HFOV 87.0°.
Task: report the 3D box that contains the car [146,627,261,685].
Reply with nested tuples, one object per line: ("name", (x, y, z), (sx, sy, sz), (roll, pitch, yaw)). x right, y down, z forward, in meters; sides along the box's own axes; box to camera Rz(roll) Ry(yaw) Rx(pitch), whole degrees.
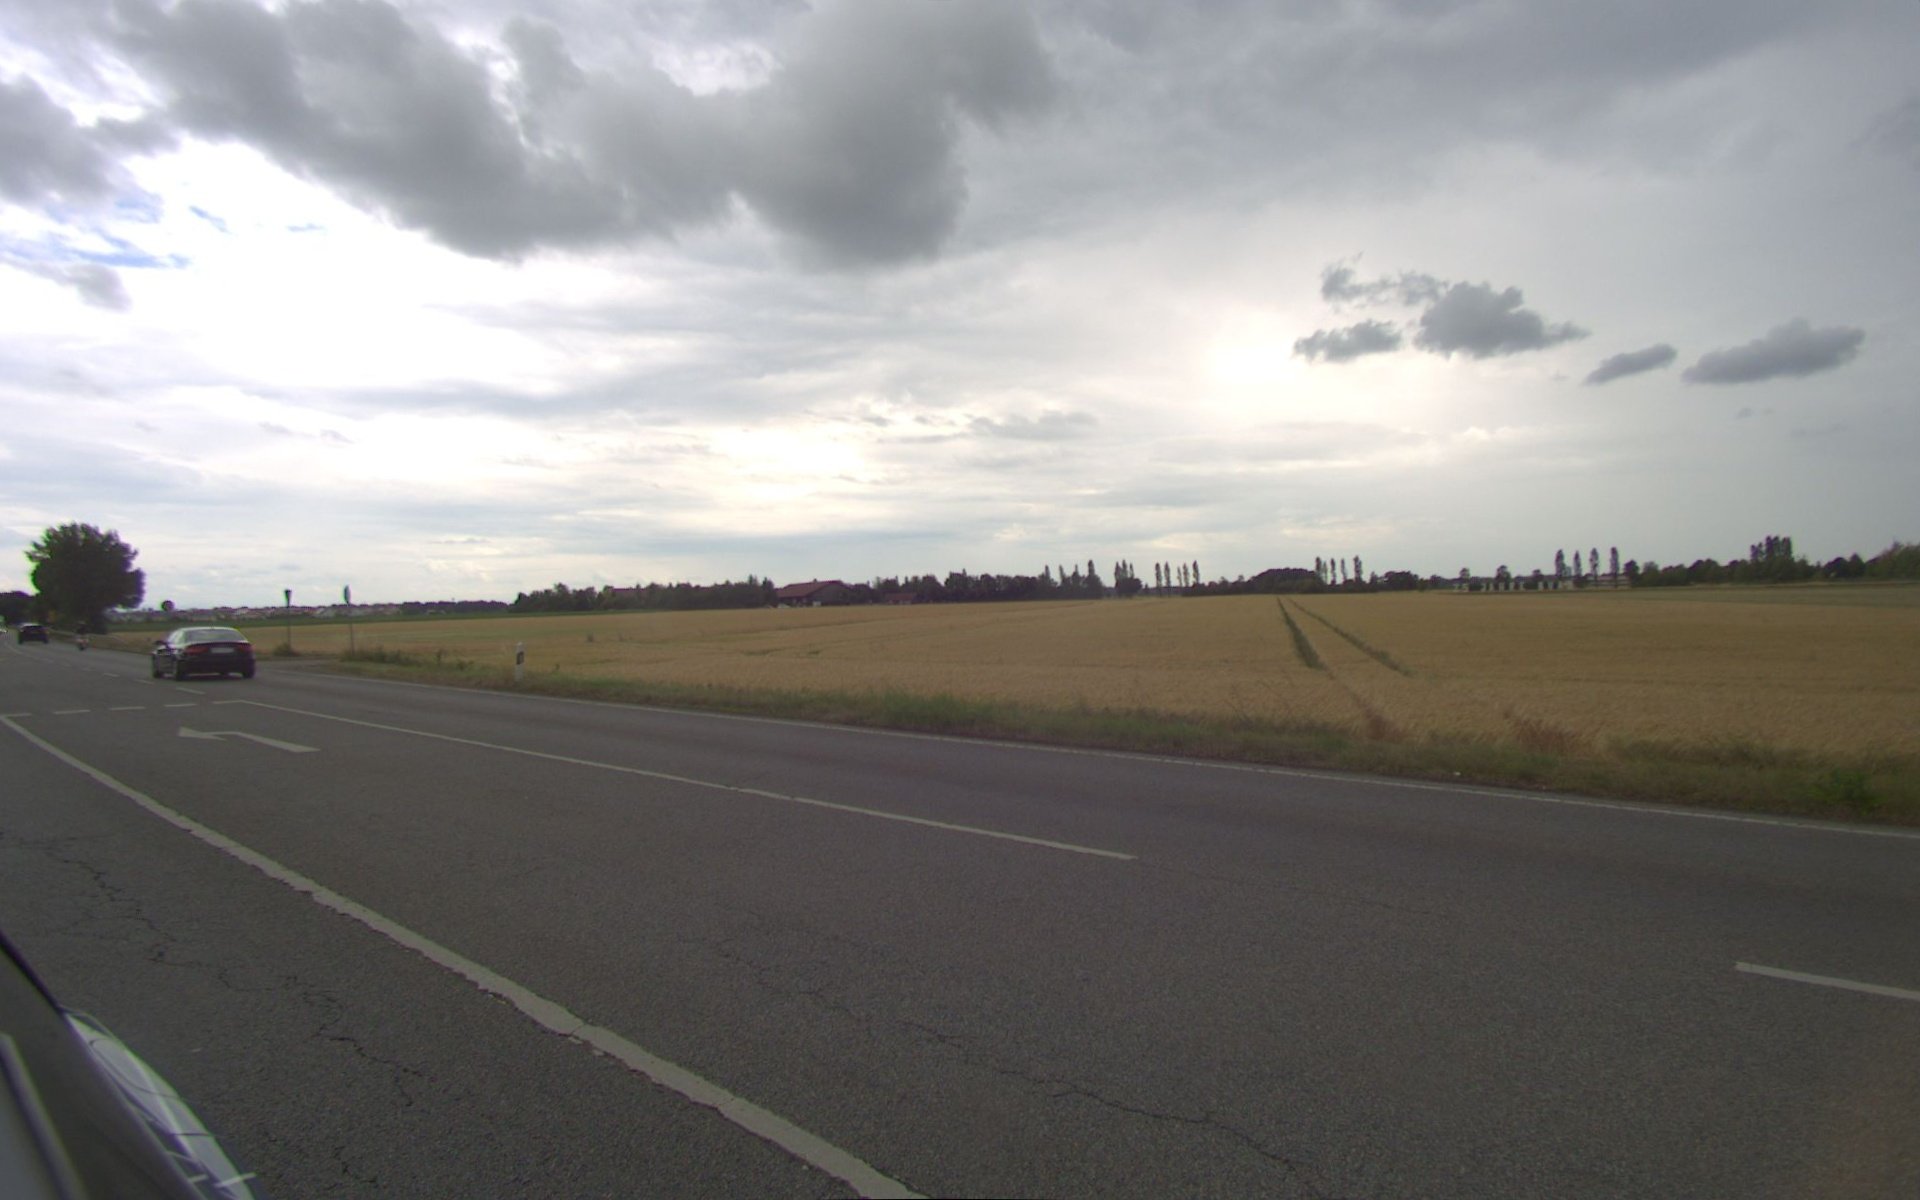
("car", (-20.955, 1.504, 27.967), (4.424, 1.421, 1.807), (-2, -1, 43))

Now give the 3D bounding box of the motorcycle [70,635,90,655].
("motorcycle", (-52.351, 2.661, 60.188), (2.025, 1.157, 0.717), (-2, -1, 44))

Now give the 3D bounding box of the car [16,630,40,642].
("car", (-122.114, 4.750, 132.598), (1.968, 1.521, 4.008), (1, -2, -38))

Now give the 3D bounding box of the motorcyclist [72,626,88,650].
("motorcyclist", (-52.352, 2.231, 60.189), (0.809, 1.394, 0.632), (-2, -1, 44))

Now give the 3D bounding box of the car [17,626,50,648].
("car", (-77.358, 3.086, 84.485), (1.925, 1.707, 4.449), (0, -1, -45))
